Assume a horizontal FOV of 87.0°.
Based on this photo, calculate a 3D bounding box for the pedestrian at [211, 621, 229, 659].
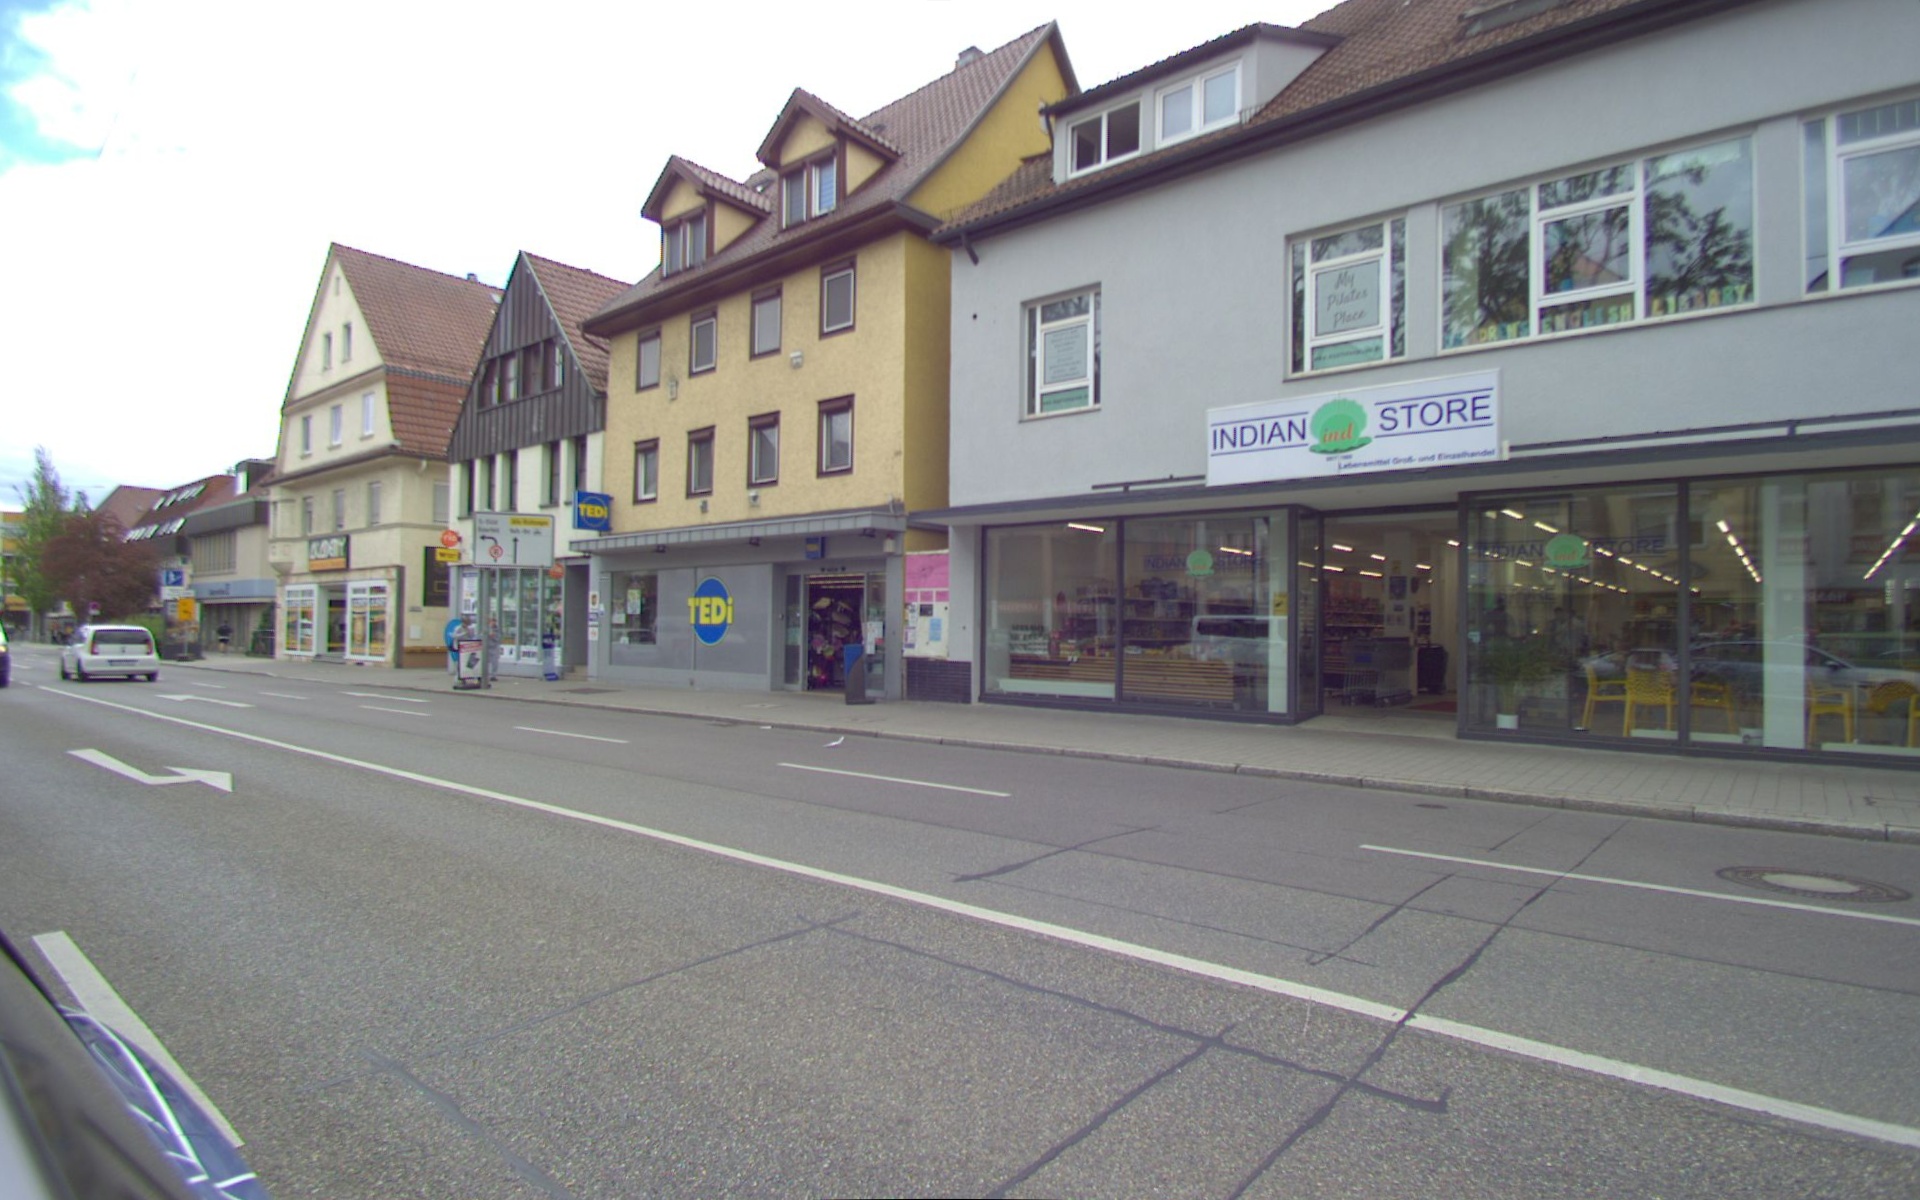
[{"bbox_3d":[-37.204,2.010,50.882,0.592,1.903,0.544,-2,-1,37],"label":"pedestrian"}]

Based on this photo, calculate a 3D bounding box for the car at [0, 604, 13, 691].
[{"bbox_3d":[-24.172,1.123,24.172,4.850,1.974,1.806,-2,-2,41],"label":"car"}]

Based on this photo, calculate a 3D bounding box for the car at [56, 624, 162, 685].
[{"bbox_3d":[-22.562,1.411,26.795,3.461,1.500,1.558,-2,-3,40],"label":"car"}]

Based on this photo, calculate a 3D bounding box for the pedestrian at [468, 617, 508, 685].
[{"bbox_3d":[-12.253,1.310,26.280,0.709,1.683,0.681,-2,0,41],"label":"pedestrian"}]

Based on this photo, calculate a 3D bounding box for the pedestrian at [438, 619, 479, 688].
[{"bbox_3d":[-12.650,1.342,25.525,0.742,1.703,0.680,-2,-1,41],"label":"pedestrian"}]
